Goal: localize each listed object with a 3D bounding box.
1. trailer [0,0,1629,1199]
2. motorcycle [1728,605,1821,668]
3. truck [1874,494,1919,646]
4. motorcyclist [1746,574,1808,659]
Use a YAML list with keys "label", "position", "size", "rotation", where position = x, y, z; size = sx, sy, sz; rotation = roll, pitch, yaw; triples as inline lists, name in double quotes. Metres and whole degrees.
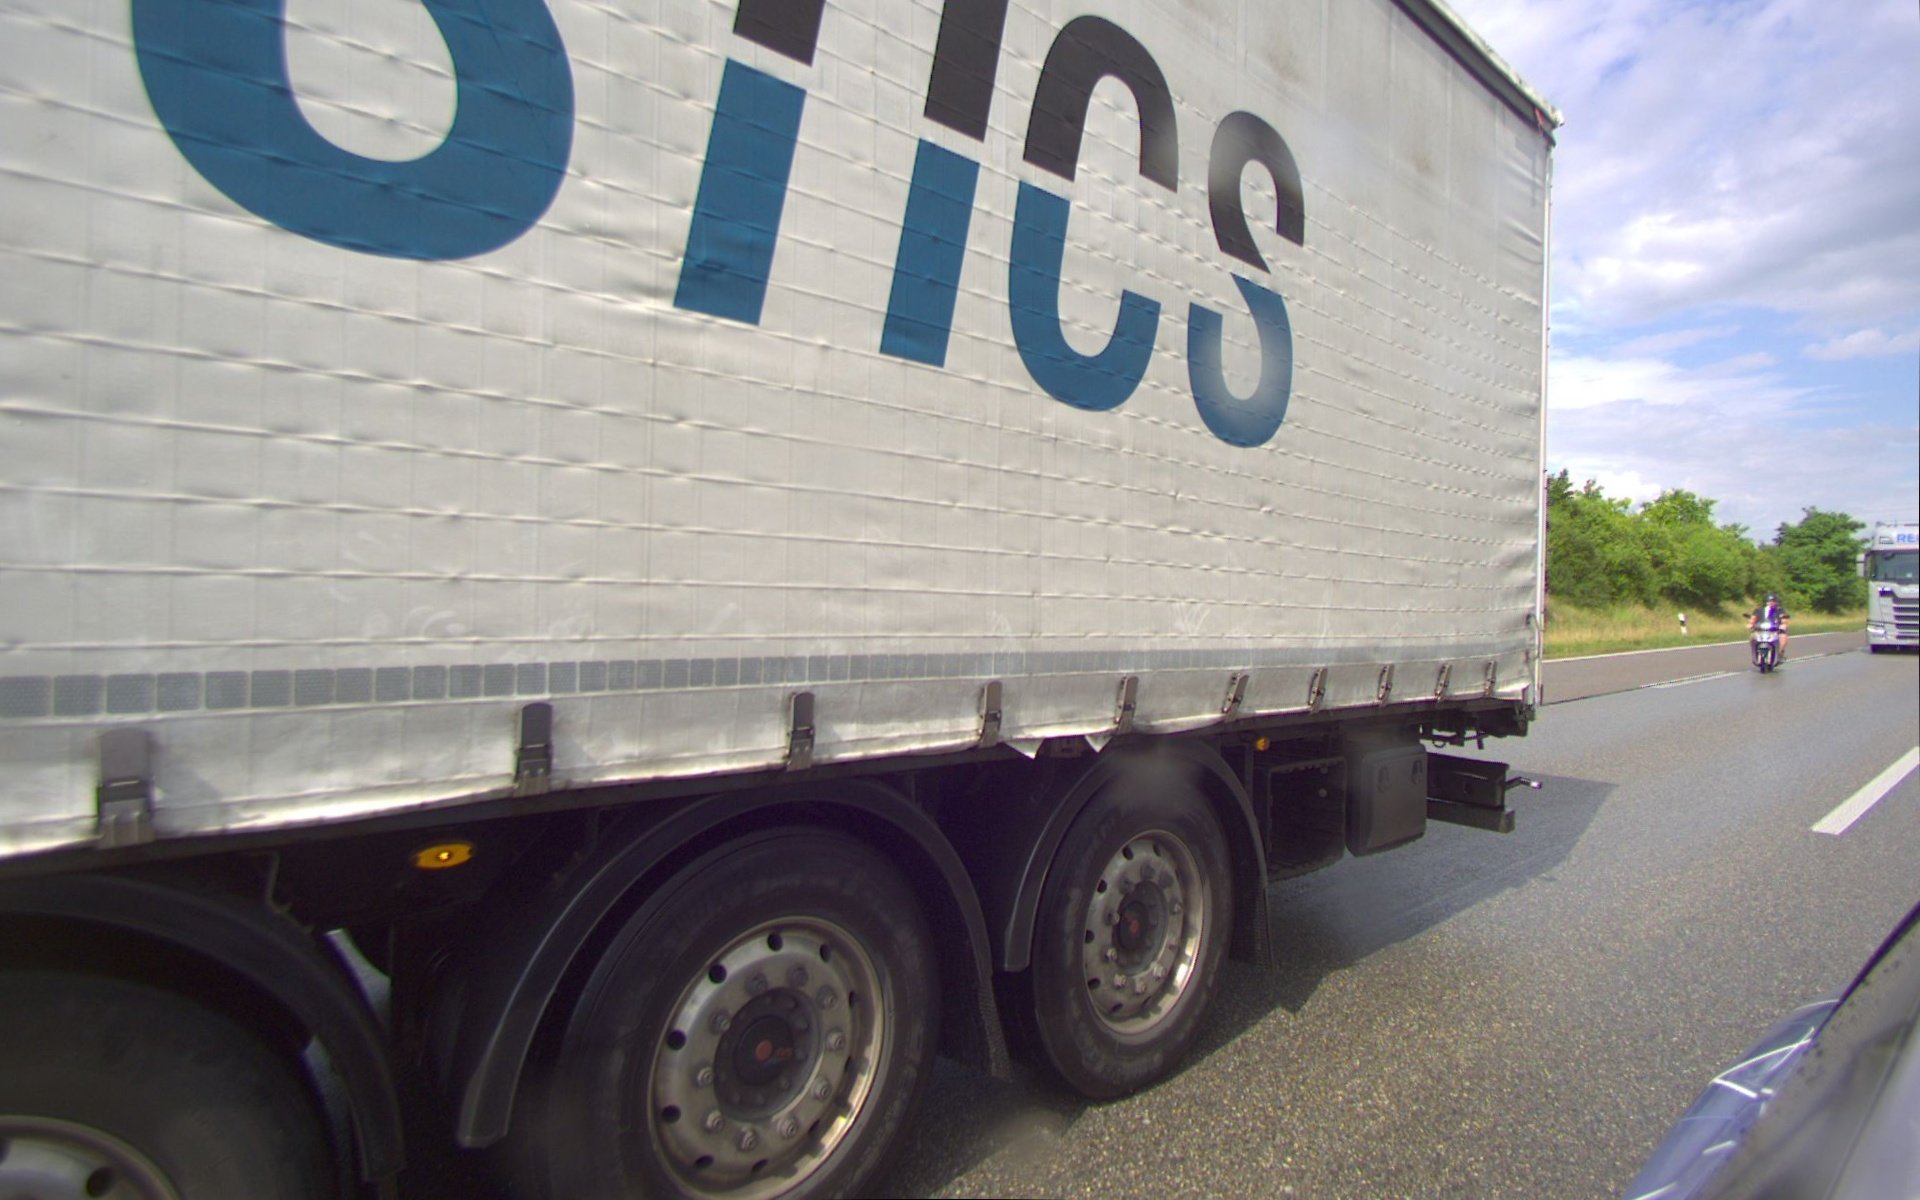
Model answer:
- label: "trailer"
  position: [-2.642, -0.591, 2.057]
  size: [13.884, 3.948, 3.288]
  rotation: [0, 0, -42]
- label: "motorcycle"
  position: [17.196, 0.725, 21.331]
  size: [3.142, 1.163, 1.185]
  rotation: [-1, 1, -44]
- label: "truck"
  position: [29.859, -0.875, 30.787]
  size: [6.772, 4.328, 2.645]
  rotation: [-1, 1, -44]
- label: "motorcyclist"
  position: [17.094, 0.331, 21.169]
  size: [0.984, 1.728, 0.882]
  rotation: [0, 0, -43]
